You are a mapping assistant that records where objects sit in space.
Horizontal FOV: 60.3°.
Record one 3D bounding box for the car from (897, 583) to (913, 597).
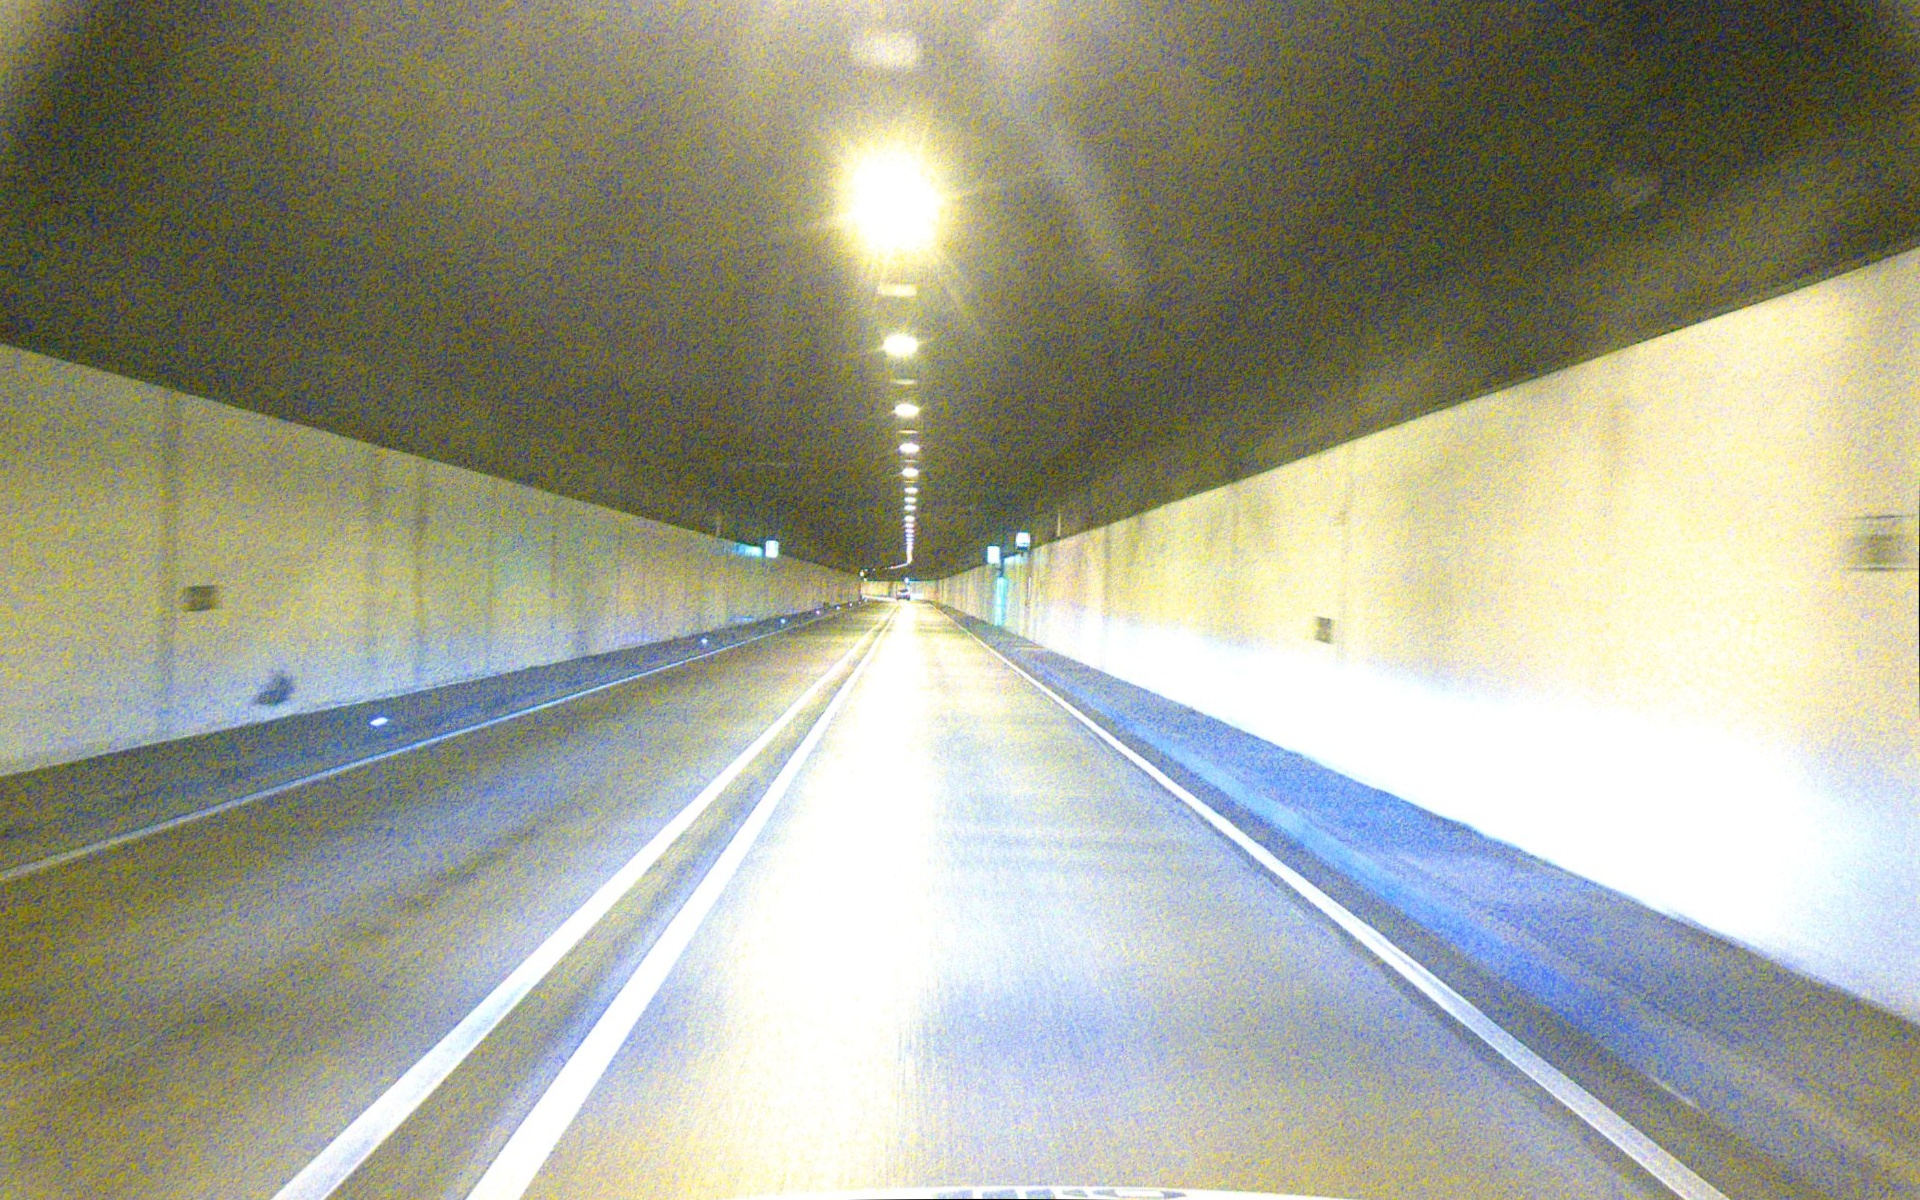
[{"bbox_3d":[-7.778,-1.410,233.173,1.929,1.973,4.606,2,0,-6],"label":"car"}]
